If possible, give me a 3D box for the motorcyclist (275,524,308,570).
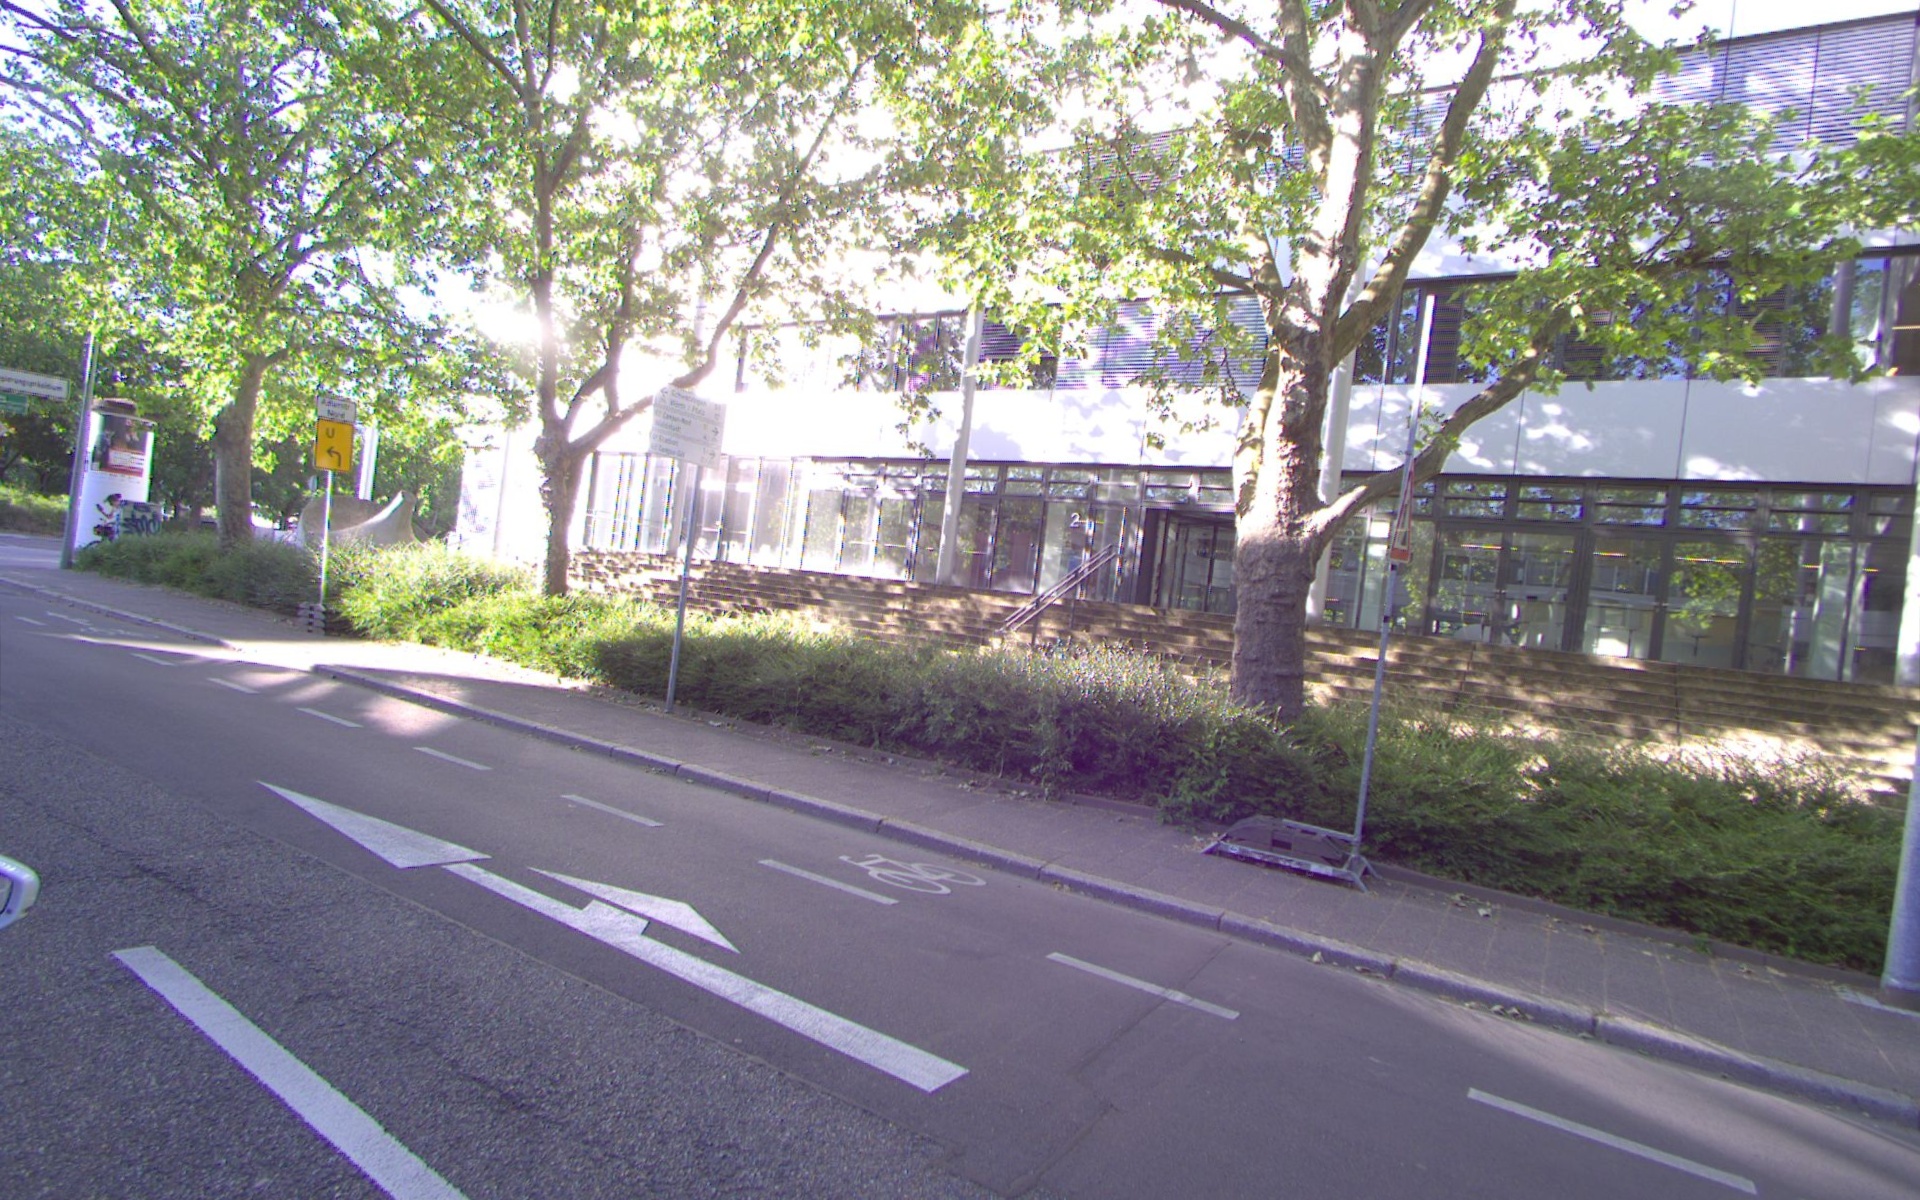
[{"bbox_3d":[-29.452,-2.341,44.312,0.370,1.899,0.983,6,-1,36],"label":"motorcyclist"}]

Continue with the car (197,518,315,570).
[{"bbox_3d":[-32.692,-2.563,46.819,1.708,1.792,3.996,7,-1,30],"label":"car"}]

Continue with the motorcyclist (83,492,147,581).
[{"bbox_3d":[-19.345,-1.448,23.030,0.662,1.885,0.823,6,-1,37],"label":"motorcyclist"}]

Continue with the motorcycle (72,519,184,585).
[{"bbox_3d":[-19.218,-1.093,23.278,0.712,1.257,1.782,6,-2,37],"label":"motorcycle"}]
